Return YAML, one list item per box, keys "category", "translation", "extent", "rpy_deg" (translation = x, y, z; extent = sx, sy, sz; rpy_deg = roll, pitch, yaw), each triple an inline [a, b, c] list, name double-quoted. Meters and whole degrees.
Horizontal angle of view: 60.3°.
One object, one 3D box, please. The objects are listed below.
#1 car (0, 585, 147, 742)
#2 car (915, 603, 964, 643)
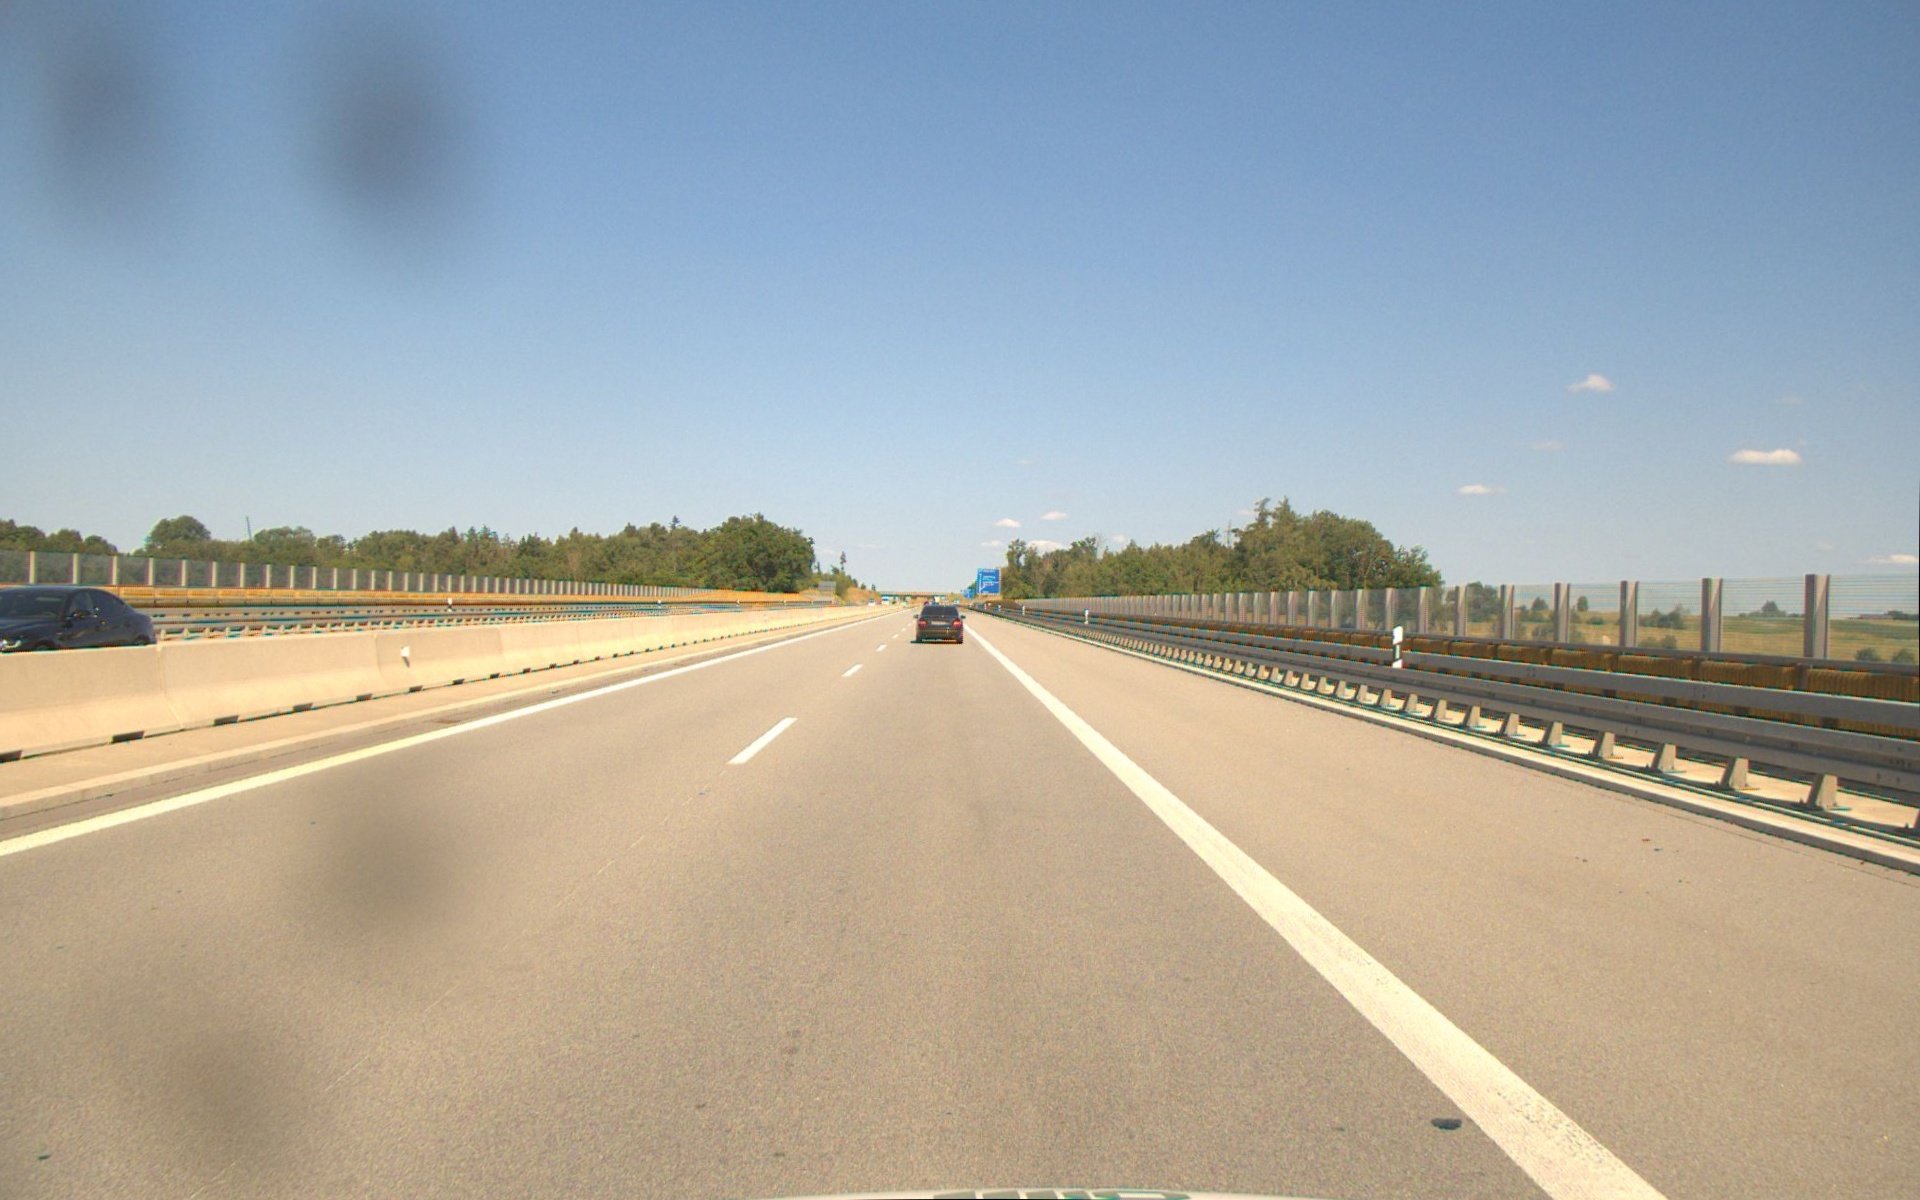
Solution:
- category: "car"
  translation: [-13.460, 0.829, 22.960]
  extent: [1.952, 2.049, 4.761]
  rpy_deg: [0, 0, 0]
- category: "car"
  translation: [-0.745, 0.831, 61.036]
  extent: [1.753, 1.398, 3.916]
  rpy_deg: [0, 0, 0]
